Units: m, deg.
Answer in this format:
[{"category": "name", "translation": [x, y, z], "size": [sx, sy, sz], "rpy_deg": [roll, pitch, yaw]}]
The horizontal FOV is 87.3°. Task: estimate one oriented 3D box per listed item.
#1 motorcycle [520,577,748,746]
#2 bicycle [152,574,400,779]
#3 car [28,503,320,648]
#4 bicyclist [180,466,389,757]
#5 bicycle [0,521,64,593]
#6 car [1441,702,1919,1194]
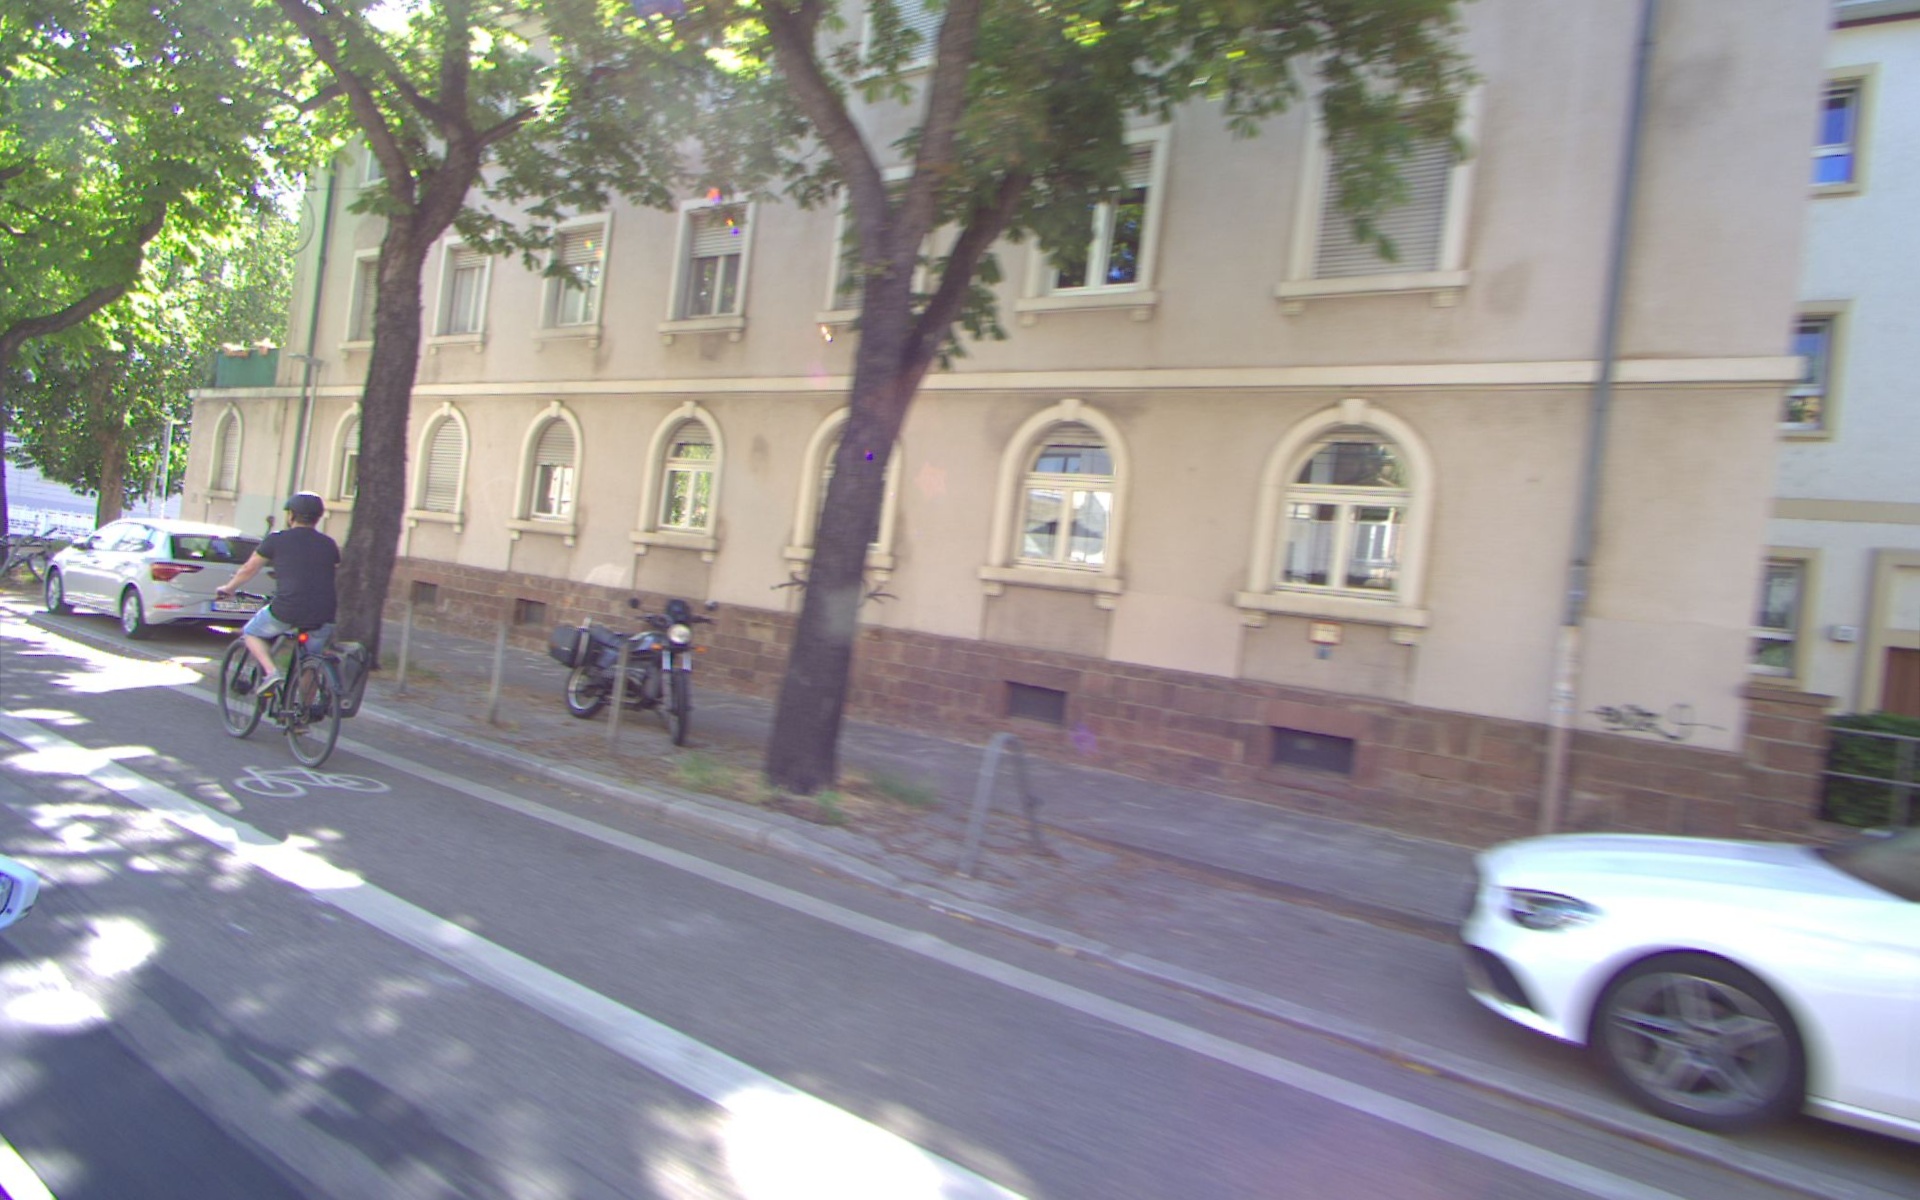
[{"category": "motorcycle", "translation": [-3.110, 0.538, 9.502], "size": [2.148, 1.258, 0.710], "rpy_deg": [7, 1, 32]}, {"category": "bicycle", "translation": [-4.769, 0.502, 6.990], "size": [1.690, 1.125, 0.693], "rpy_deg": [7, -1, 32]}, {"category": "car", "translation": [-10.601, -0.348, 13.507], "size": [3.933, 1.438, 1.750], "rpy_deg": [7, 0, 32]}, {"category": "bicyclist", "translation": [-4.715, 0.083, 7.040], "size": [0.823, 1.869, 0.729], "rpy_deg": [7, -1, 31]}, {"category": "bicycle", "translation": [-15.291, -0.733, 16.069], "size": [0.694, 1.035, 1.270], "rpy_deg": [5, -3, 39]}, {"category": "car", "translation": [4.493, 1.494, 3.846], "size": [4.584, 1.454, 1.631], "rpy_deg": [7, 0, 29]}]
